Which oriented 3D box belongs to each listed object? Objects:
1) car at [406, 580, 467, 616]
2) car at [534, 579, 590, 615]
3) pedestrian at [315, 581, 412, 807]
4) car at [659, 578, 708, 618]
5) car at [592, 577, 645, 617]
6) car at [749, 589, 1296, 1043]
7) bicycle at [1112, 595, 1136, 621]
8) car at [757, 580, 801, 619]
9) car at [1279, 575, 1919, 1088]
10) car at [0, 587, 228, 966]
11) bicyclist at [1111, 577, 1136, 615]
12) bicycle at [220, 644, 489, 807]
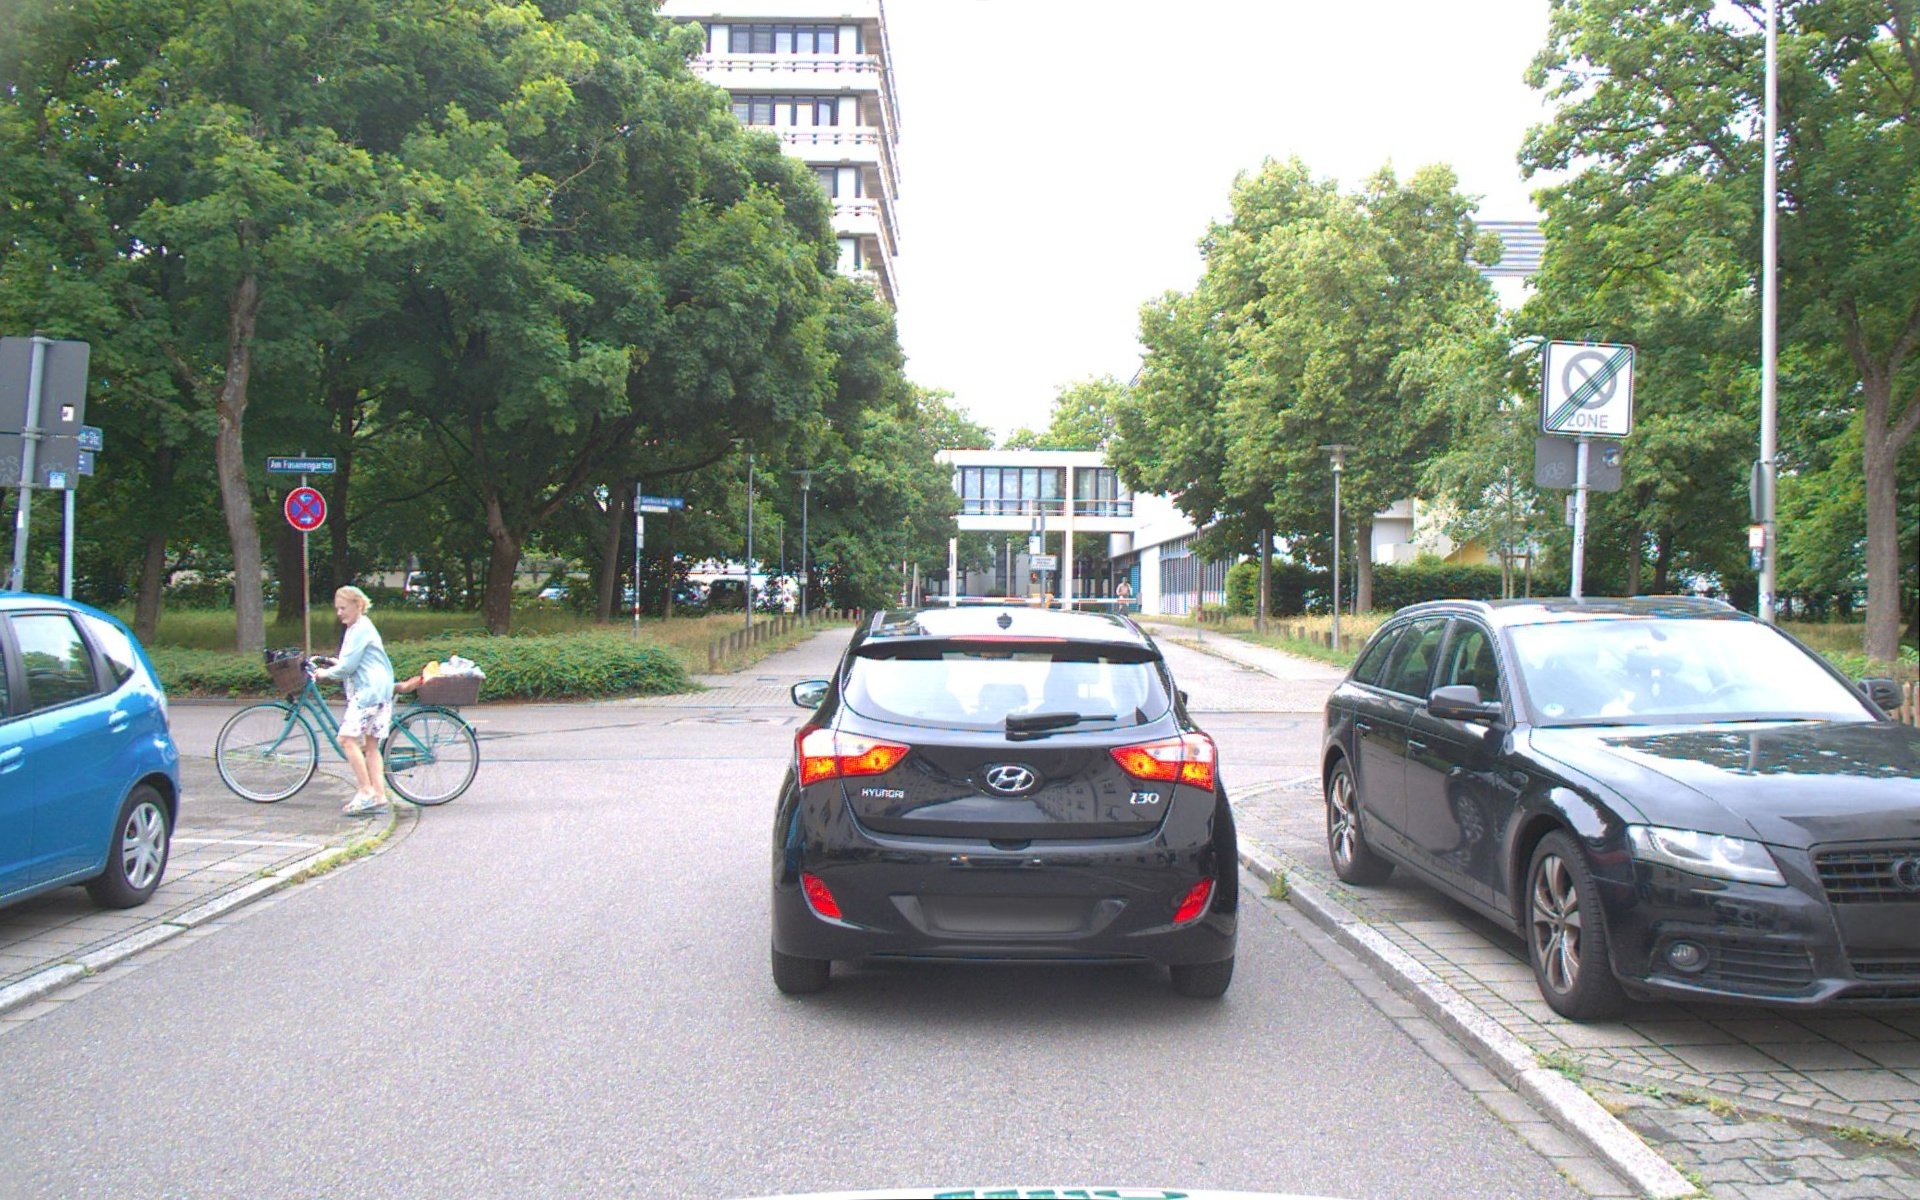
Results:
[{"bbox_3d":[-24.916,-0.105,78.829,1.880,1.646,3.996,0,0,-5],"label":"car"},{"bbox_3d":[-18.830,-0.134,78.396,1.954,1.646,3.996,0,0,-5],"label":"car"},{"bbox_3d":[-4.252,0.655,11.814,0.555,1.577,0.447,0,0,-8],"label":"pedestrian"},{"bbox_3d":[-13.125,-0.068,78.744,1.954,1.825,3.996,0,-2,-5],"label":"car"},{"bbox_3d":[-16.164,-0.106,78.369,1.954,1.758,3.996,0,-2,-5],"label":"car"},{"bbox_3d":[0.120,0.724,7.399,1.809,1.488,3.825,1,0,-3],"label":"car"},{"bbox_3d":[7.150,0.342,72.252,0.849,1.093,2.142,0,1,0],"label":"bicycle"},{"bbox_3d":[-8.624,-0.013,78.876,1.954,1.793,3.996,0,-1,-5],"label":"car"},{"bbox_3d":[2.869,0.657,7.232,1.823,1.488,4.723,-1,0,-3],"label":"car"},{"bbox_3d":[-4.710,0.702,6.750,1.695,1.488,3.956,3,0,-1],"label":"car"},{"bbox_3d":[7.153,-0.187,72.355,0.996,1.673,0.923,0,0,0],"label":"bicyclist"},{"bbox_3d":[-4.436,0.909,12.202,1.779,1.139,0.537,0,0,-10],"label":"bicycle"}]
